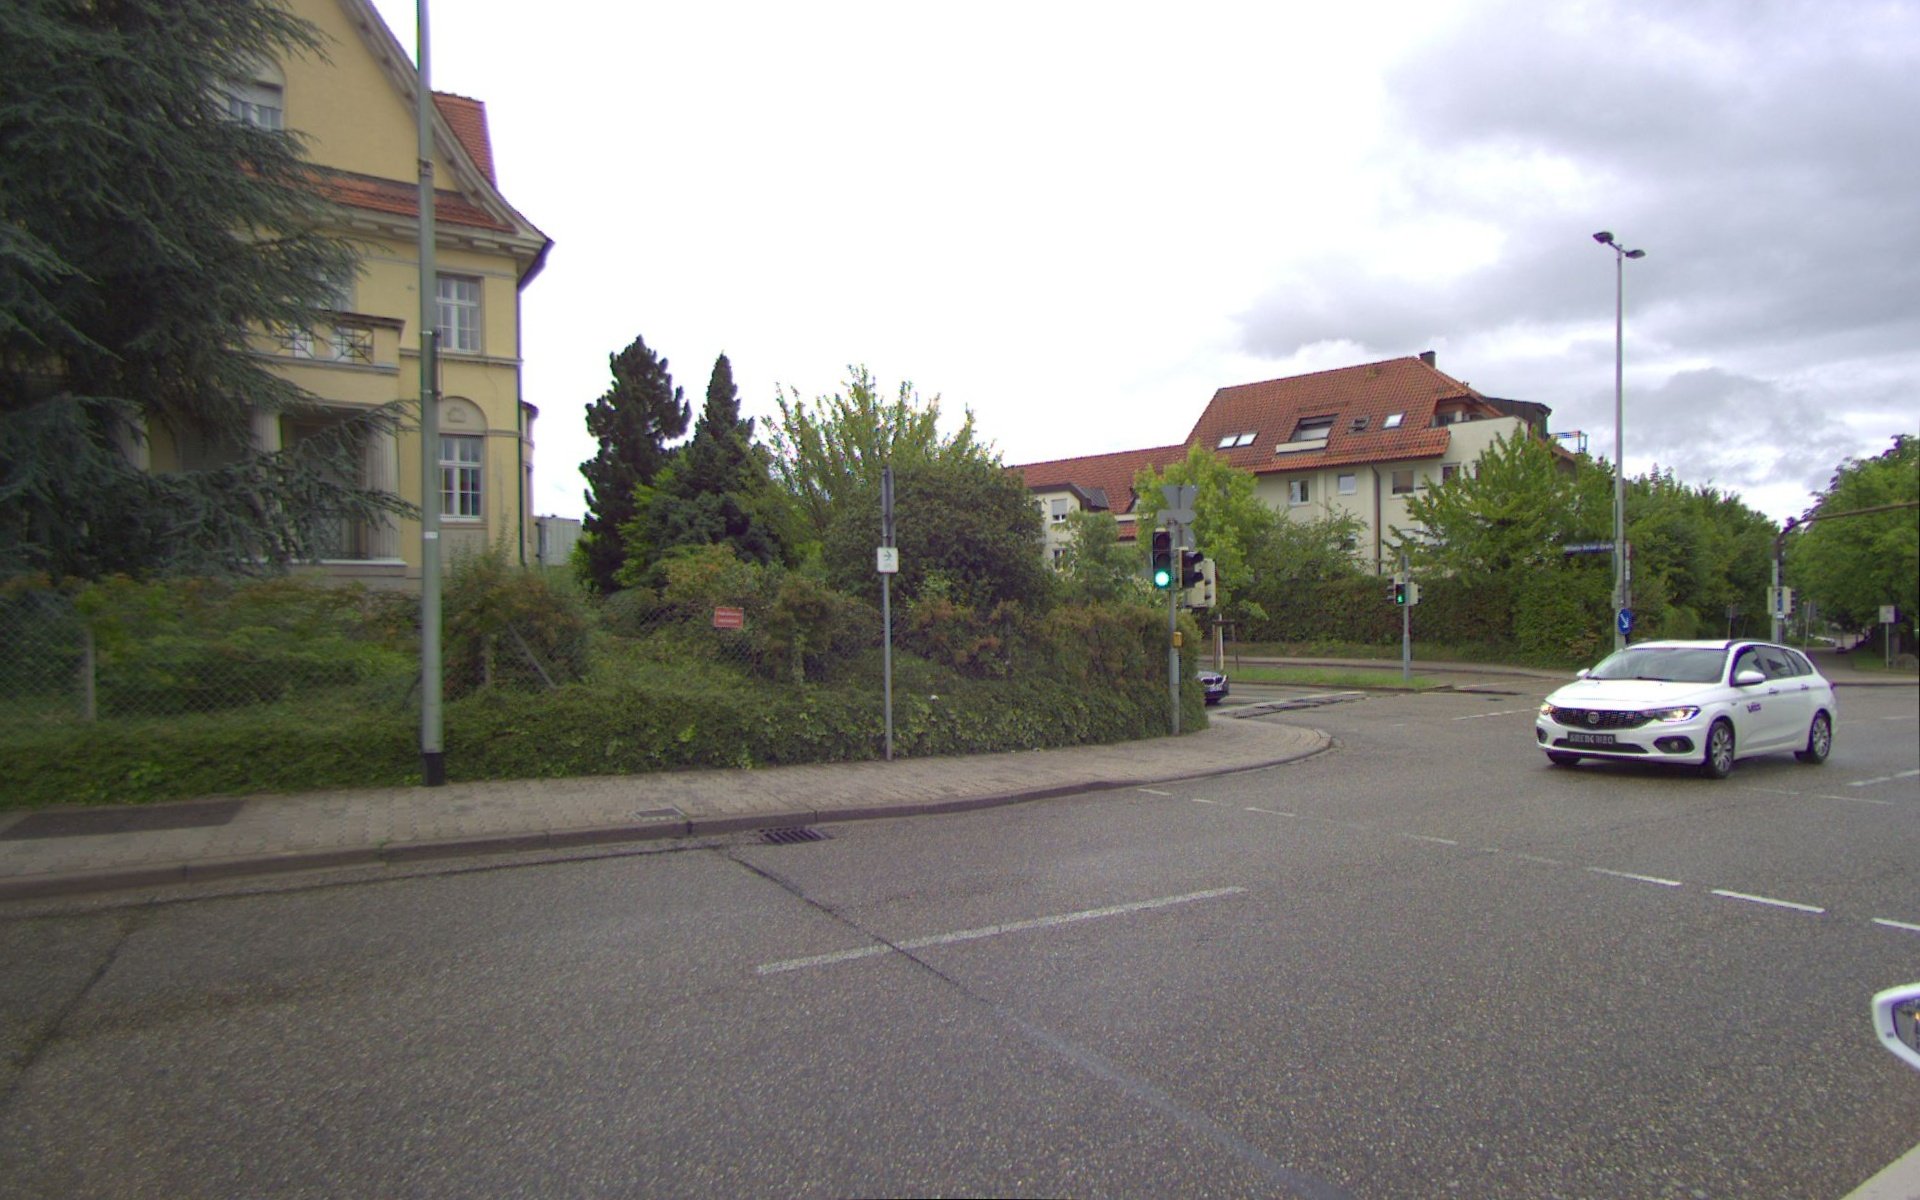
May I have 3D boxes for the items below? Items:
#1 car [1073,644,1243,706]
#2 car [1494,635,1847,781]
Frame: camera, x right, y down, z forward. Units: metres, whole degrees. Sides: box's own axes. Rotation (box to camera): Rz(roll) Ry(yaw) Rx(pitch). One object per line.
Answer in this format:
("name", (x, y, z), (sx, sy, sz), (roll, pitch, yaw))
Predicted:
("car", (5.109, 1.957, 26.473), (1.759, 1.411, 4.393), (-1, -2, -35))
("car", (8.685, 1.175, 12.218), (4.259, 1.473, 1.958), (1, -2, -31))
